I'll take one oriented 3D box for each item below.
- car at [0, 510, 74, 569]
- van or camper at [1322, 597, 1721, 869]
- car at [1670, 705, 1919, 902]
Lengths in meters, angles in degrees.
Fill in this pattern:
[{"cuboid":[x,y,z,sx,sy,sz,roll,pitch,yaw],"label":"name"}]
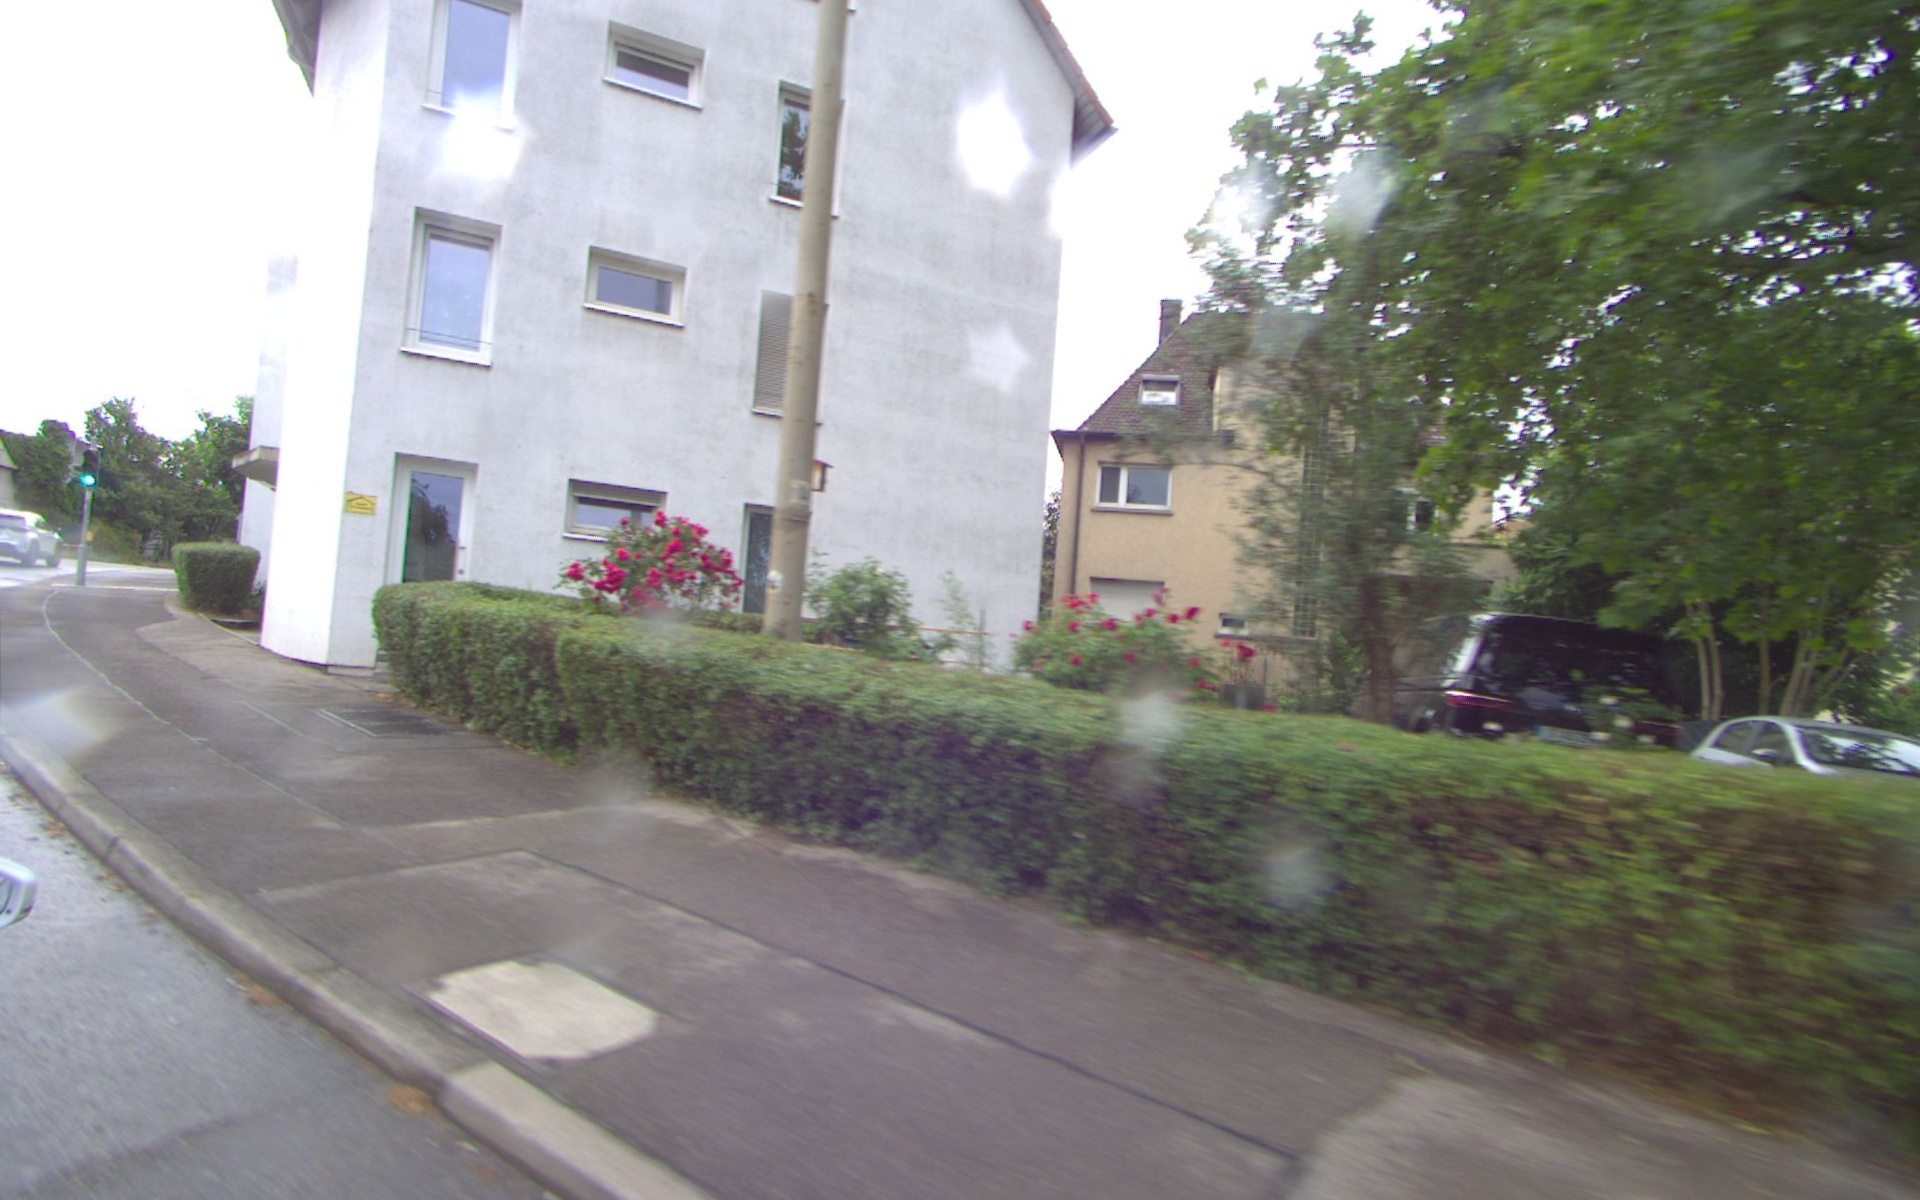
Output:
[{"cuboid":[-27.636,-1.786,29.334,1.862,1.548,3.970,7,-2,-30],"label":"car"},{"cuboid":[5.238,1.163,10.199,1.962,1.926,4.333,6,-2,9],"label":"van or camper"},{"cuboid":[9.138,1.987,10.239,1.963,1.481,4.003,6,-2,19],"label":"car"}]
